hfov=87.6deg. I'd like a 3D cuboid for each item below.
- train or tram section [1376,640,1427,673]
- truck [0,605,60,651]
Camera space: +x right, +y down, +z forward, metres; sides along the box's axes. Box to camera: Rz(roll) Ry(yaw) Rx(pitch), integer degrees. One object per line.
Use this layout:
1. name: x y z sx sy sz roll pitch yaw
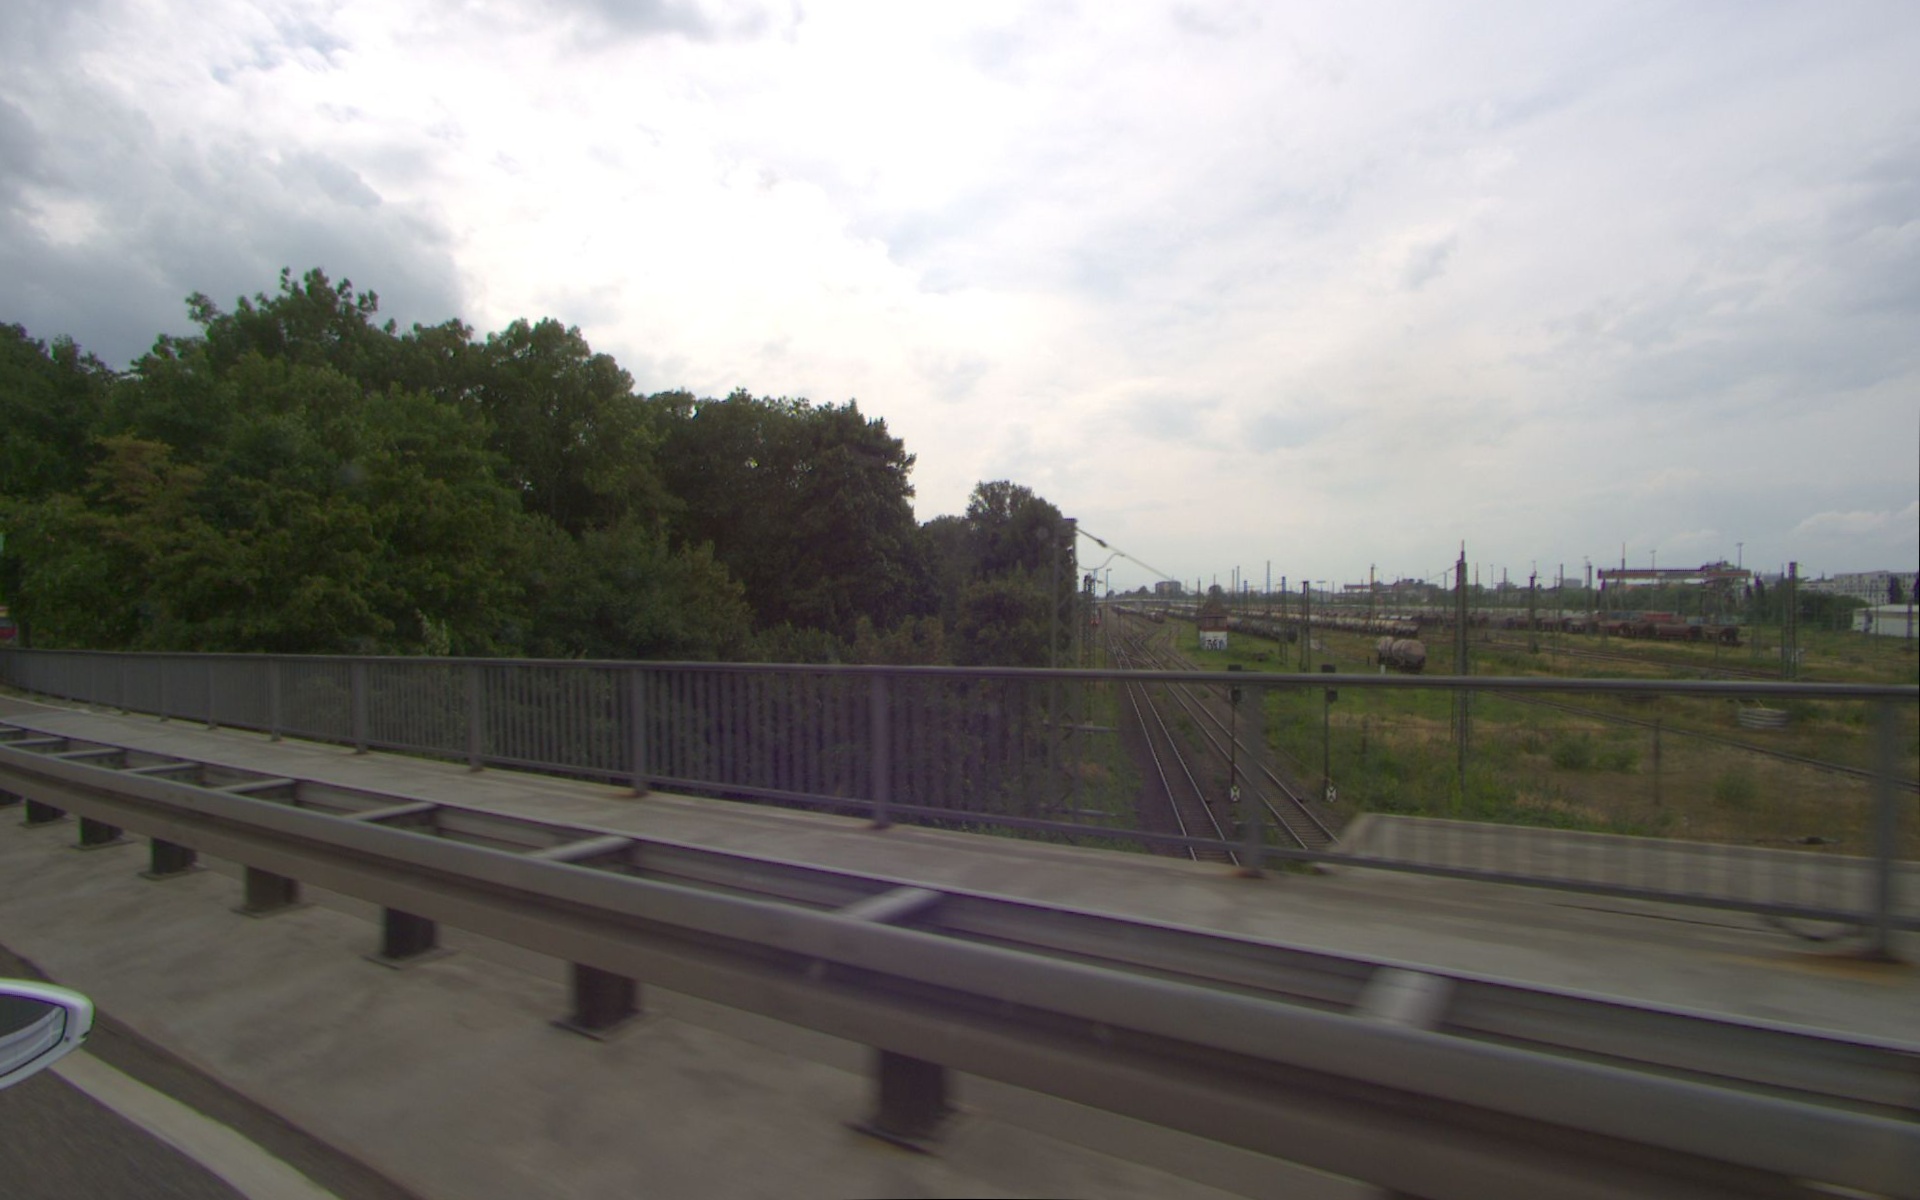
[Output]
1. train or tram section: 59.474 7.483 135.219 3.190 4.221 11.389 0 -2 7
2. truck: -87.571 2.650 93.726 2.530 4.135 5.617 0 -2 -14
